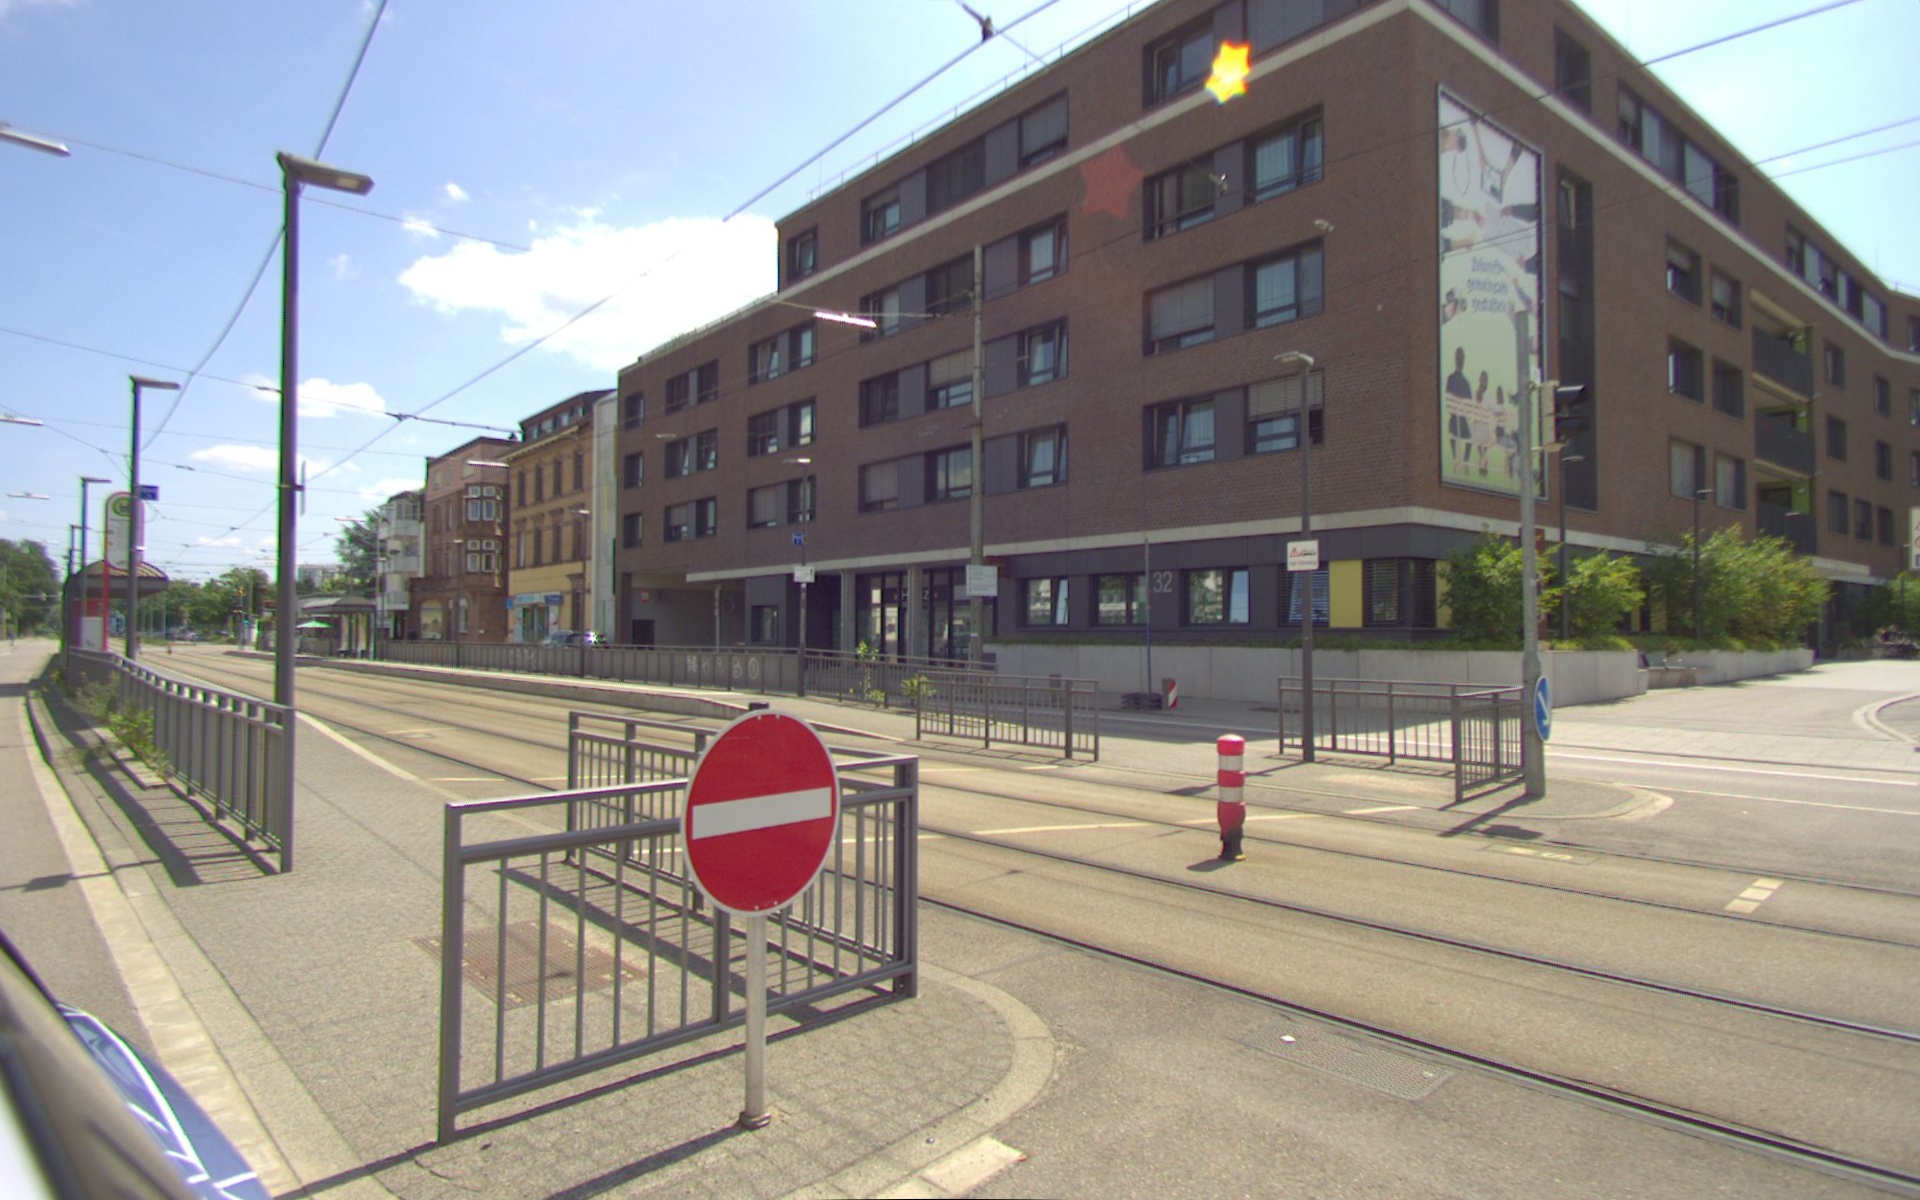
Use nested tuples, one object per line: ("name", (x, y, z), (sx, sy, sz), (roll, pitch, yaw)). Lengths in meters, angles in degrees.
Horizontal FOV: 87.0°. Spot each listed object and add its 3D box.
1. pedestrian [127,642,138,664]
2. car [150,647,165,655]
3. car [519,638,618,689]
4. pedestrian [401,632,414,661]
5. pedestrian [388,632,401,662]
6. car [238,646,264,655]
("pedestrian", (-60.784, 3.887, 74.337), (0.569, 1.568, 0.787), (4, -4, -38))
("car", (-149.913, 9.552, 189.033), (1.969, 1.483, 4.406), (3, -4, -42))
("car", (-13.635, 2.177, 35.157), (1.815, 1.640, 3.775), (5, -4, -44))
("pedestrian", (-38.860, 3.288, 71.161), (0.610, 2.029, 0.811), (2, -3, -44))
("pedestrian", (-39.423, 3.256, 70.534), (0.669, 2.029, 0.685), (1, -2, -44))
("car", (-138.446, 9.858, 197.566), (3.937, 1.749, 1.806), (4, -4, -41))
